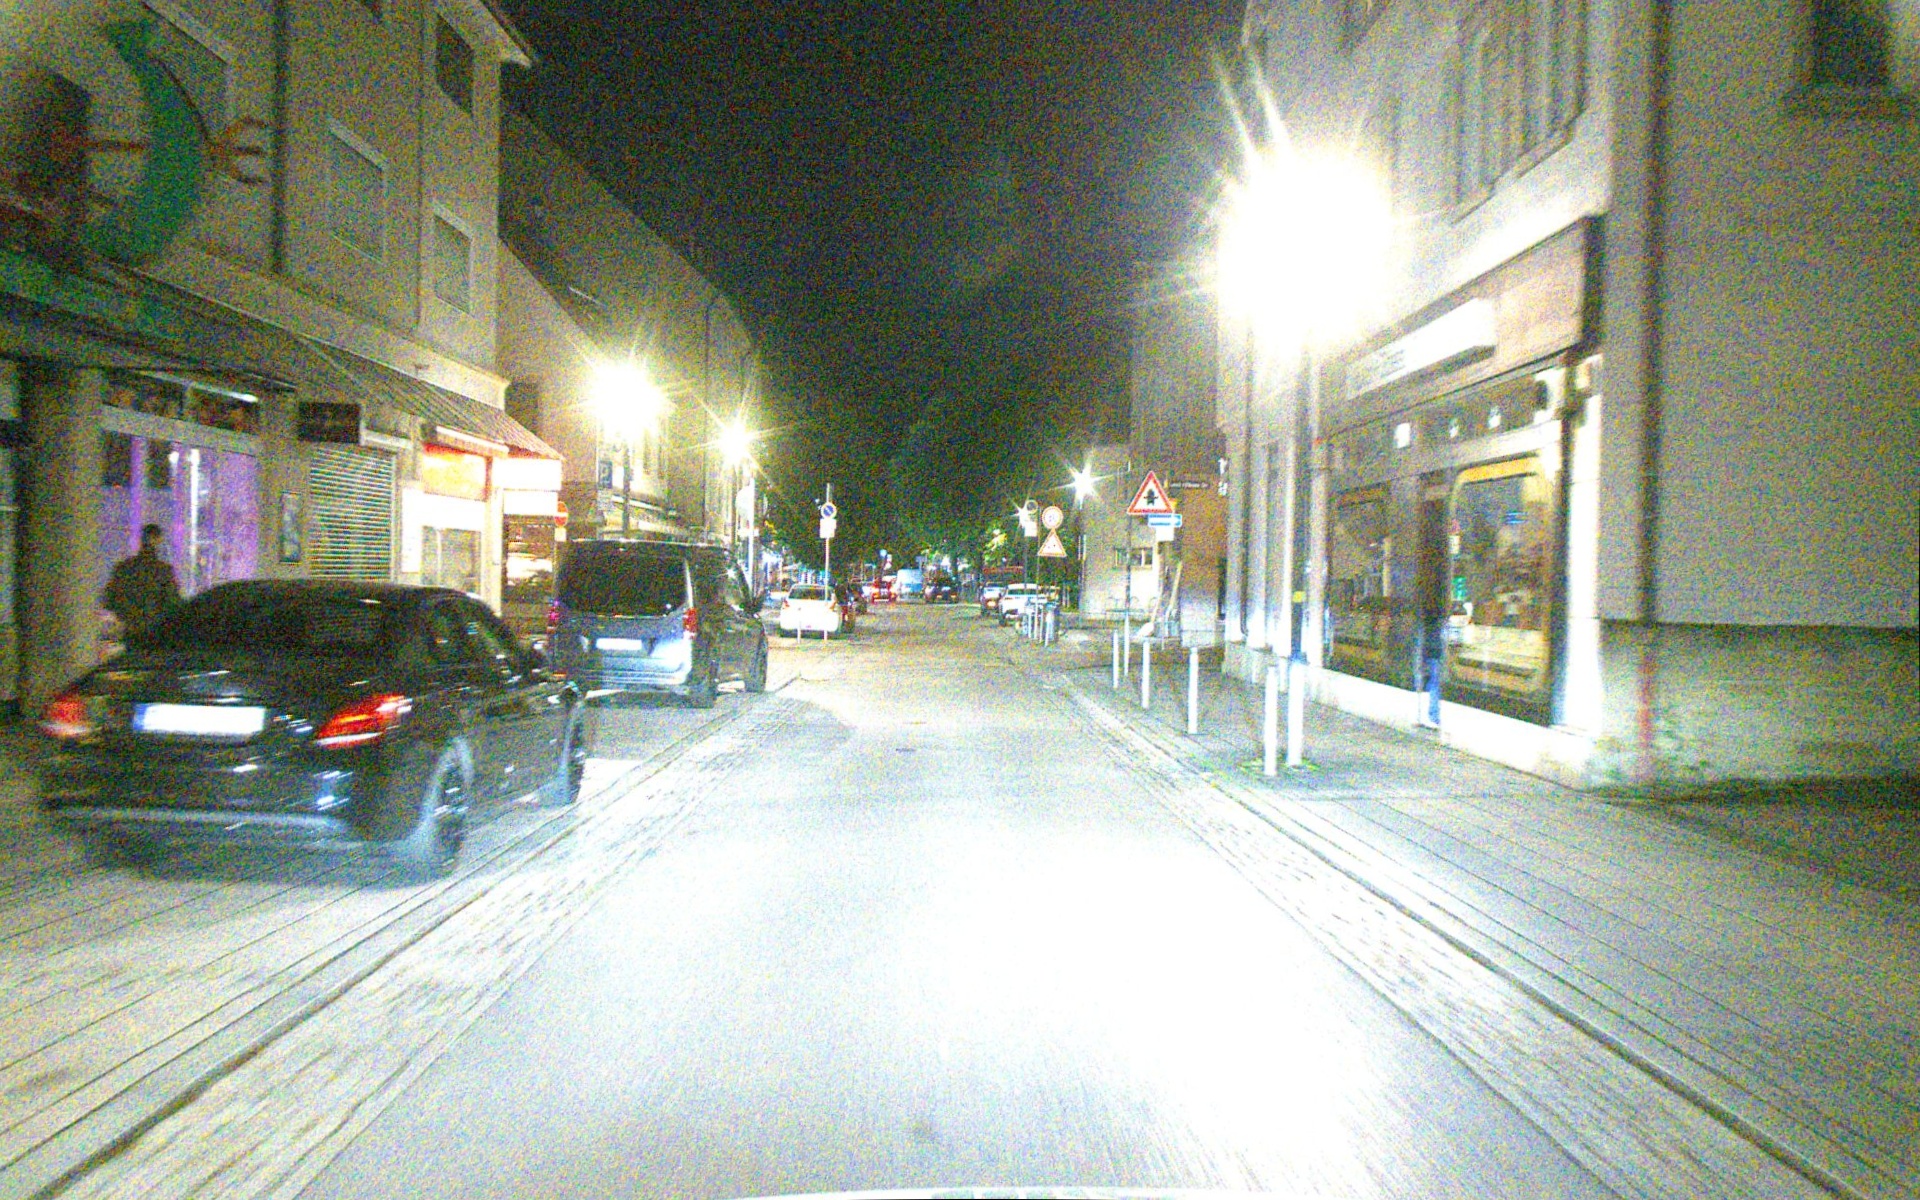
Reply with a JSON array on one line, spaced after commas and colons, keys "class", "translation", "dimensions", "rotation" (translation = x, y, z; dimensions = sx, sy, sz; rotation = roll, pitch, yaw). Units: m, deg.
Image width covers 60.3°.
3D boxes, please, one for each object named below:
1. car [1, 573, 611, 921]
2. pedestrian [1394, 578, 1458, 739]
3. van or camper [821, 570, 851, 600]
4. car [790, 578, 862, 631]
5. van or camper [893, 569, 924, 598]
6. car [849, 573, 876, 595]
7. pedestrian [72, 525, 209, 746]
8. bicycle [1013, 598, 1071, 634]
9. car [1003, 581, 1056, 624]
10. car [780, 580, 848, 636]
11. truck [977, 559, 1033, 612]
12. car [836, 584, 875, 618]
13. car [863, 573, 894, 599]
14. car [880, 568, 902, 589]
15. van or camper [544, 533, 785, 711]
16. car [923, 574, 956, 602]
[{"class": "car", "translation": [-3.282, 0.623, 9.334], "dimensions": [1.682, 1.437, 4.385], "rotation": [2, 0, -1]}, {"class": "pedestrian", "translation": [4.670, 0.576, 16.589], "dimensions": [0.490, 1.574, 0.480], "rotation": [2, 0, 5]}, {"class": "van or camper", "translation": [-8.907, -1.071, 118.874], "dimensions": [1.831, 2.046, 4.255], "rotation": [2, 0, -8]}, {"class": "car", "translation": [-4.264, 0.121, 53.251], "dimensions": [1.979, 1.513, 5.006], "rotation": [4, 0, -2]}, {"class": "van or camper", "translation": [-4.322, -1.401, 138.144], "dimensions": [2.069, 2.357, 4.255], "rotation": [-1, 1, -8]}, {"class": "car", "translation": [-7.927, -1.264, 133.760], "dimensions": [1.955, 1.732, 3.995], "rotation": [1, 0, -6]}, {"class": "pedestrian", "translation": [-6.848, 0.285, 13.865], "dimensions": [0.608, 1.776, 1.022], "rotation": [1, 0, -1]}, {"class": "bicycle", "translation": [2.472, 0.491, 50.063], "dimensions": [1.719, 1.080, 0.346], "rotation": [0, 0, -4]}, {"class": "car", "translation": [2.535, 0.067, 61.336], "dimensions": [1.753, 1.517, 4.059], "rotation": [-1, 1, 0]}, {"class": "car", "translation": [-4.176, 0.198, 47.697], "dimensions": [1.694, 1.502, 3.845], "rotation": [2, 0, -2]}, {"class": "truck", "translation": [2.042, -0.682, 77.015], "dimensions": [2.289, 2.352, 5.779], "rotation": [0, 1, -2]}, {"class": "car", "translation": [-5.140, 0.017, 81.100], "dimensions": [1.642, 1.570, 4.224], "rotation": [2, 0, -7]}, {"class": "car", "translation": [-5.887, -1.026, 119.673], "dimensions": [1.956, 1.855, 3.994], "rotation": [1, 0, -7]}, {"class": "car", "translation": [-6.548, -2.068, 157.186], "dimensions": [1.804, 1.934, 3.840], "rotation": [1, 1, -6]}, {"class": "van or camper", "translation": [-3.659, 0.237, 21.508], "dimensions": [1.807, 1.975, 5.156], "rotation": [2, 0, 4]}, {"class": "car", "translation": [-1.394, -0.849, 112.066], "dimensions": [1.780, 1.860, 4.340], "rotation": [0, 1, -7]}]
